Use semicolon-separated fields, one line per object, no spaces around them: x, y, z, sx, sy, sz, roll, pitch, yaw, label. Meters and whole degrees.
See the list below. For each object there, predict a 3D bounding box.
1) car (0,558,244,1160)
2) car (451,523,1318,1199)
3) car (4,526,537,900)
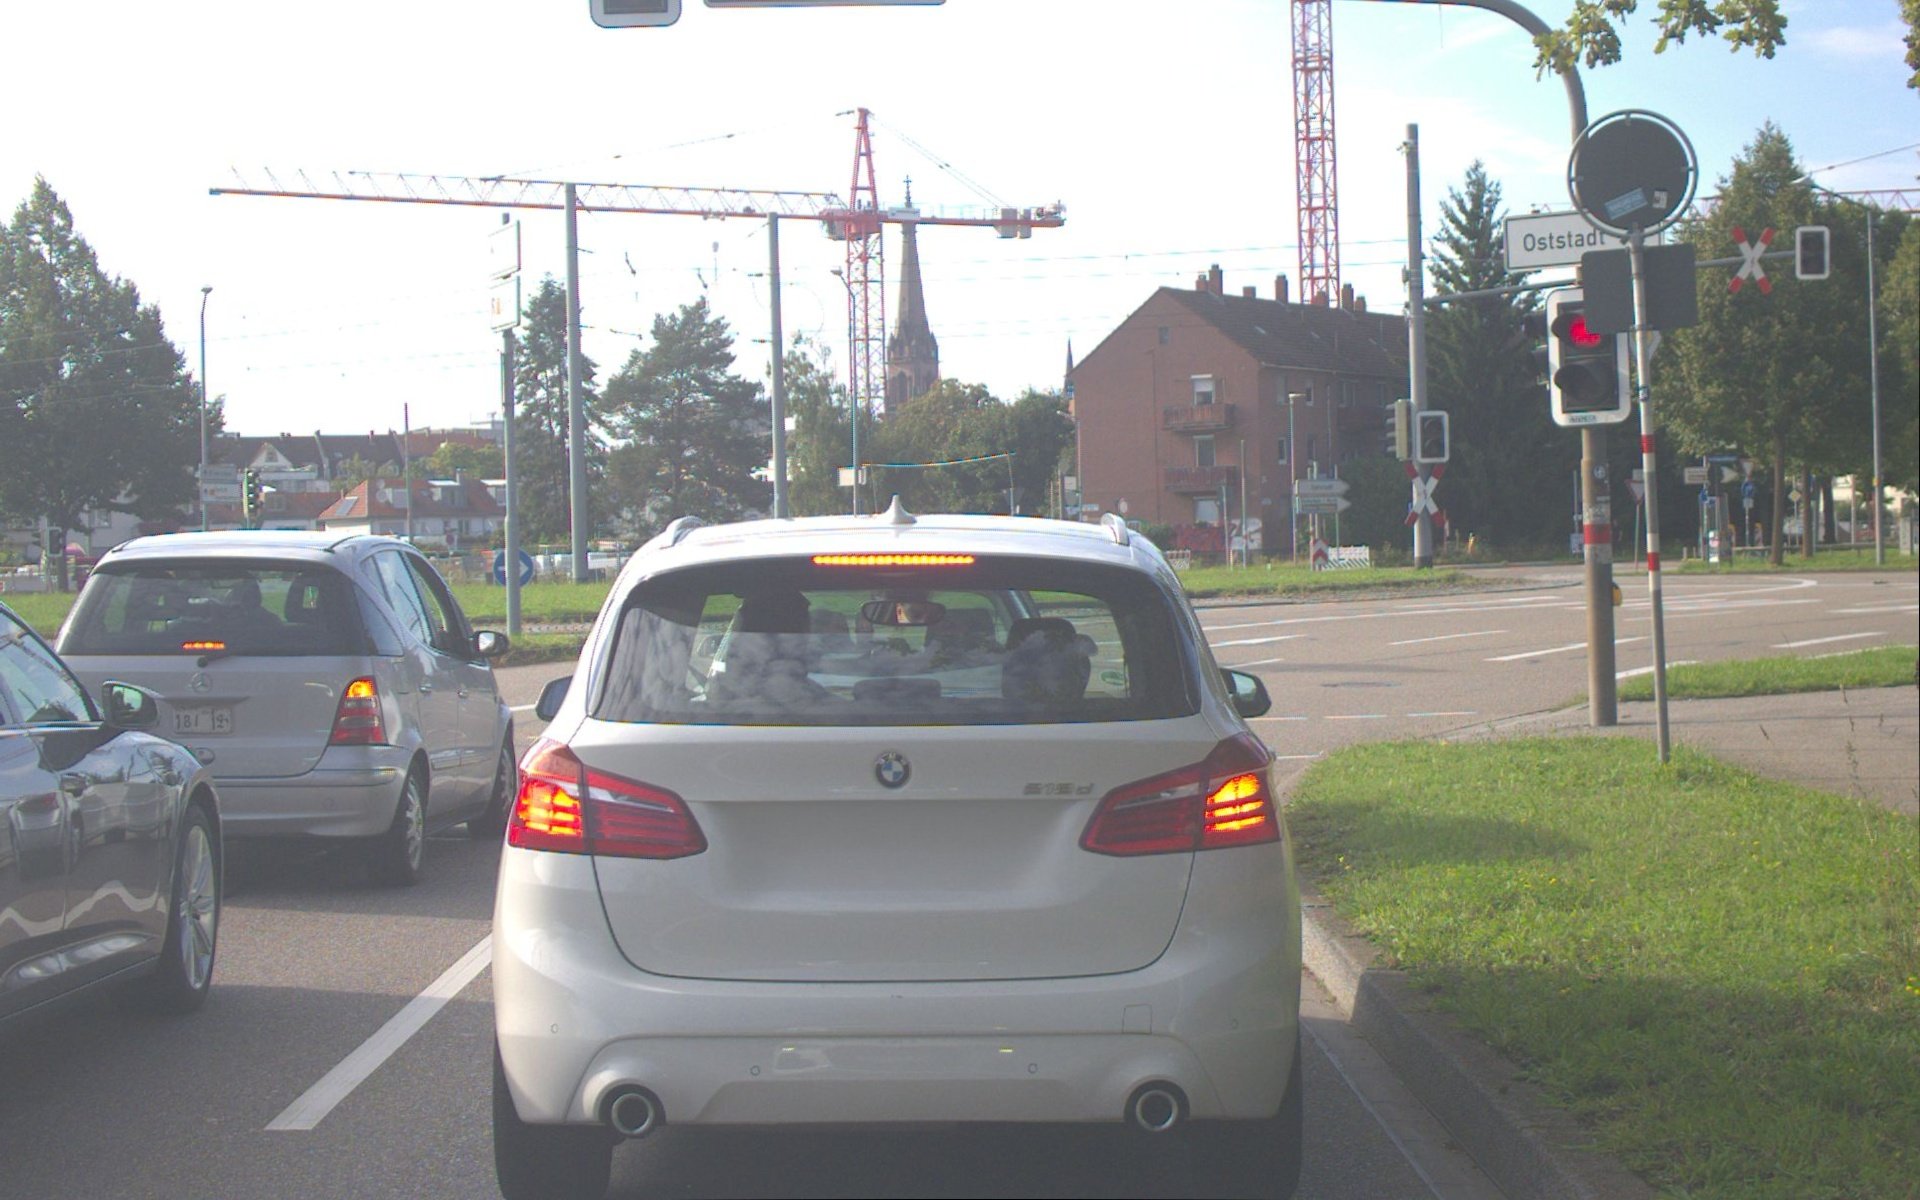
-3.310;0.627;9.191;1.890;1.478;4.613;0;1;-1;car
-0.178;0.587;8.897;1.729;1.553;4.058;0;1;-1;car
-3.117;0.436;16.325;1.729;1.553;4.058;0;1;0;car
